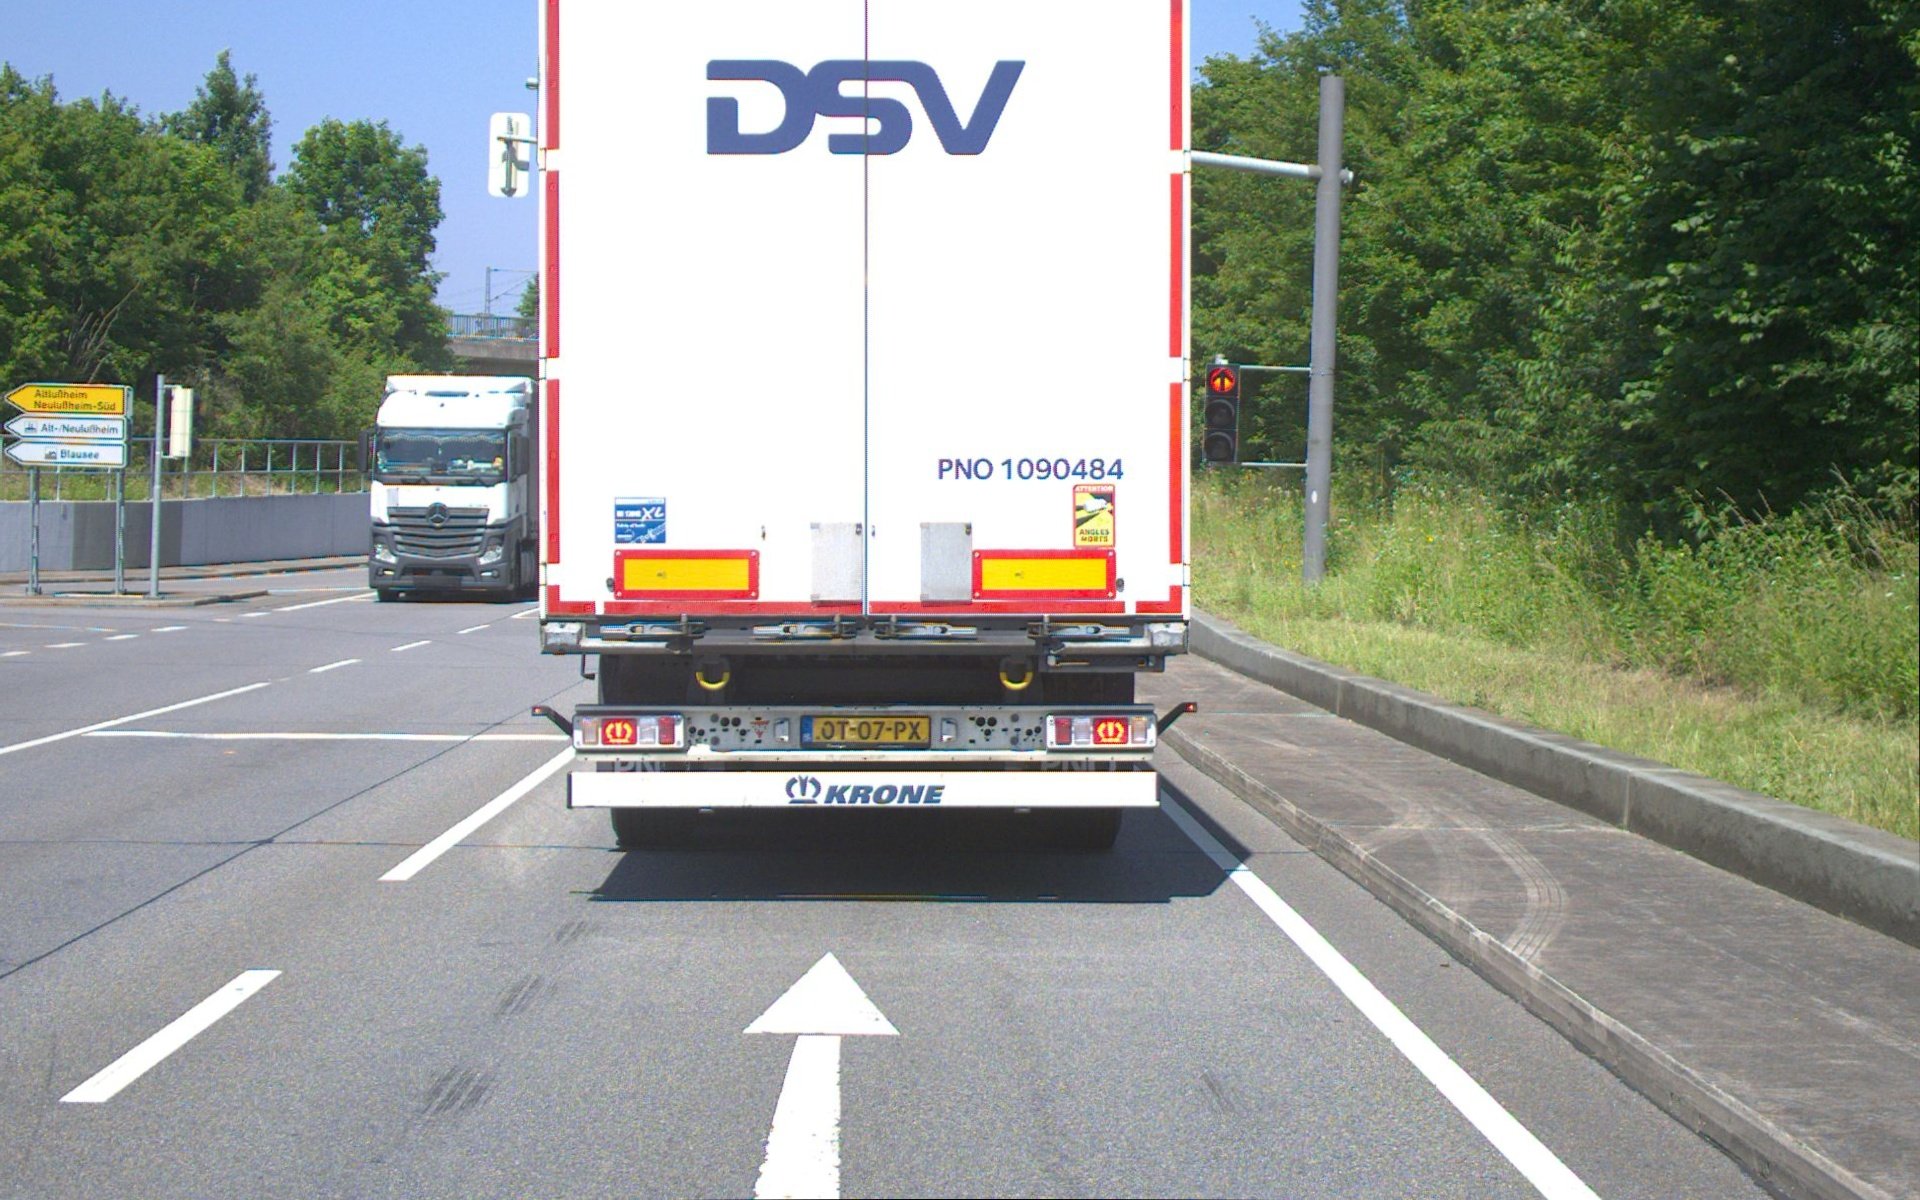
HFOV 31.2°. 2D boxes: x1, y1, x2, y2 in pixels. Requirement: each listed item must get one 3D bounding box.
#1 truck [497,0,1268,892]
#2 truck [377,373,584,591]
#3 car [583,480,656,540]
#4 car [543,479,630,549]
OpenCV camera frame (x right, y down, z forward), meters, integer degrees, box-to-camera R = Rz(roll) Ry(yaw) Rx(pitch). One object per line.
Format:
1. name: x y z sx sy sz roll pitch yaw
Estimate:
1. truck: -0.255 -1.272 18.179 2.950 4.553 9.863 0 1 1
2. truck: -8.948 -2.240 65.488 2.353 3.737 12.627 0 2 -1
3. car: -9.474 -2.518 95.866 1.747 1.620 3.704 0 2 -1
4. car: -8.971 -2.083 82.719 1.747 1.620 3.704 0 2 -1
